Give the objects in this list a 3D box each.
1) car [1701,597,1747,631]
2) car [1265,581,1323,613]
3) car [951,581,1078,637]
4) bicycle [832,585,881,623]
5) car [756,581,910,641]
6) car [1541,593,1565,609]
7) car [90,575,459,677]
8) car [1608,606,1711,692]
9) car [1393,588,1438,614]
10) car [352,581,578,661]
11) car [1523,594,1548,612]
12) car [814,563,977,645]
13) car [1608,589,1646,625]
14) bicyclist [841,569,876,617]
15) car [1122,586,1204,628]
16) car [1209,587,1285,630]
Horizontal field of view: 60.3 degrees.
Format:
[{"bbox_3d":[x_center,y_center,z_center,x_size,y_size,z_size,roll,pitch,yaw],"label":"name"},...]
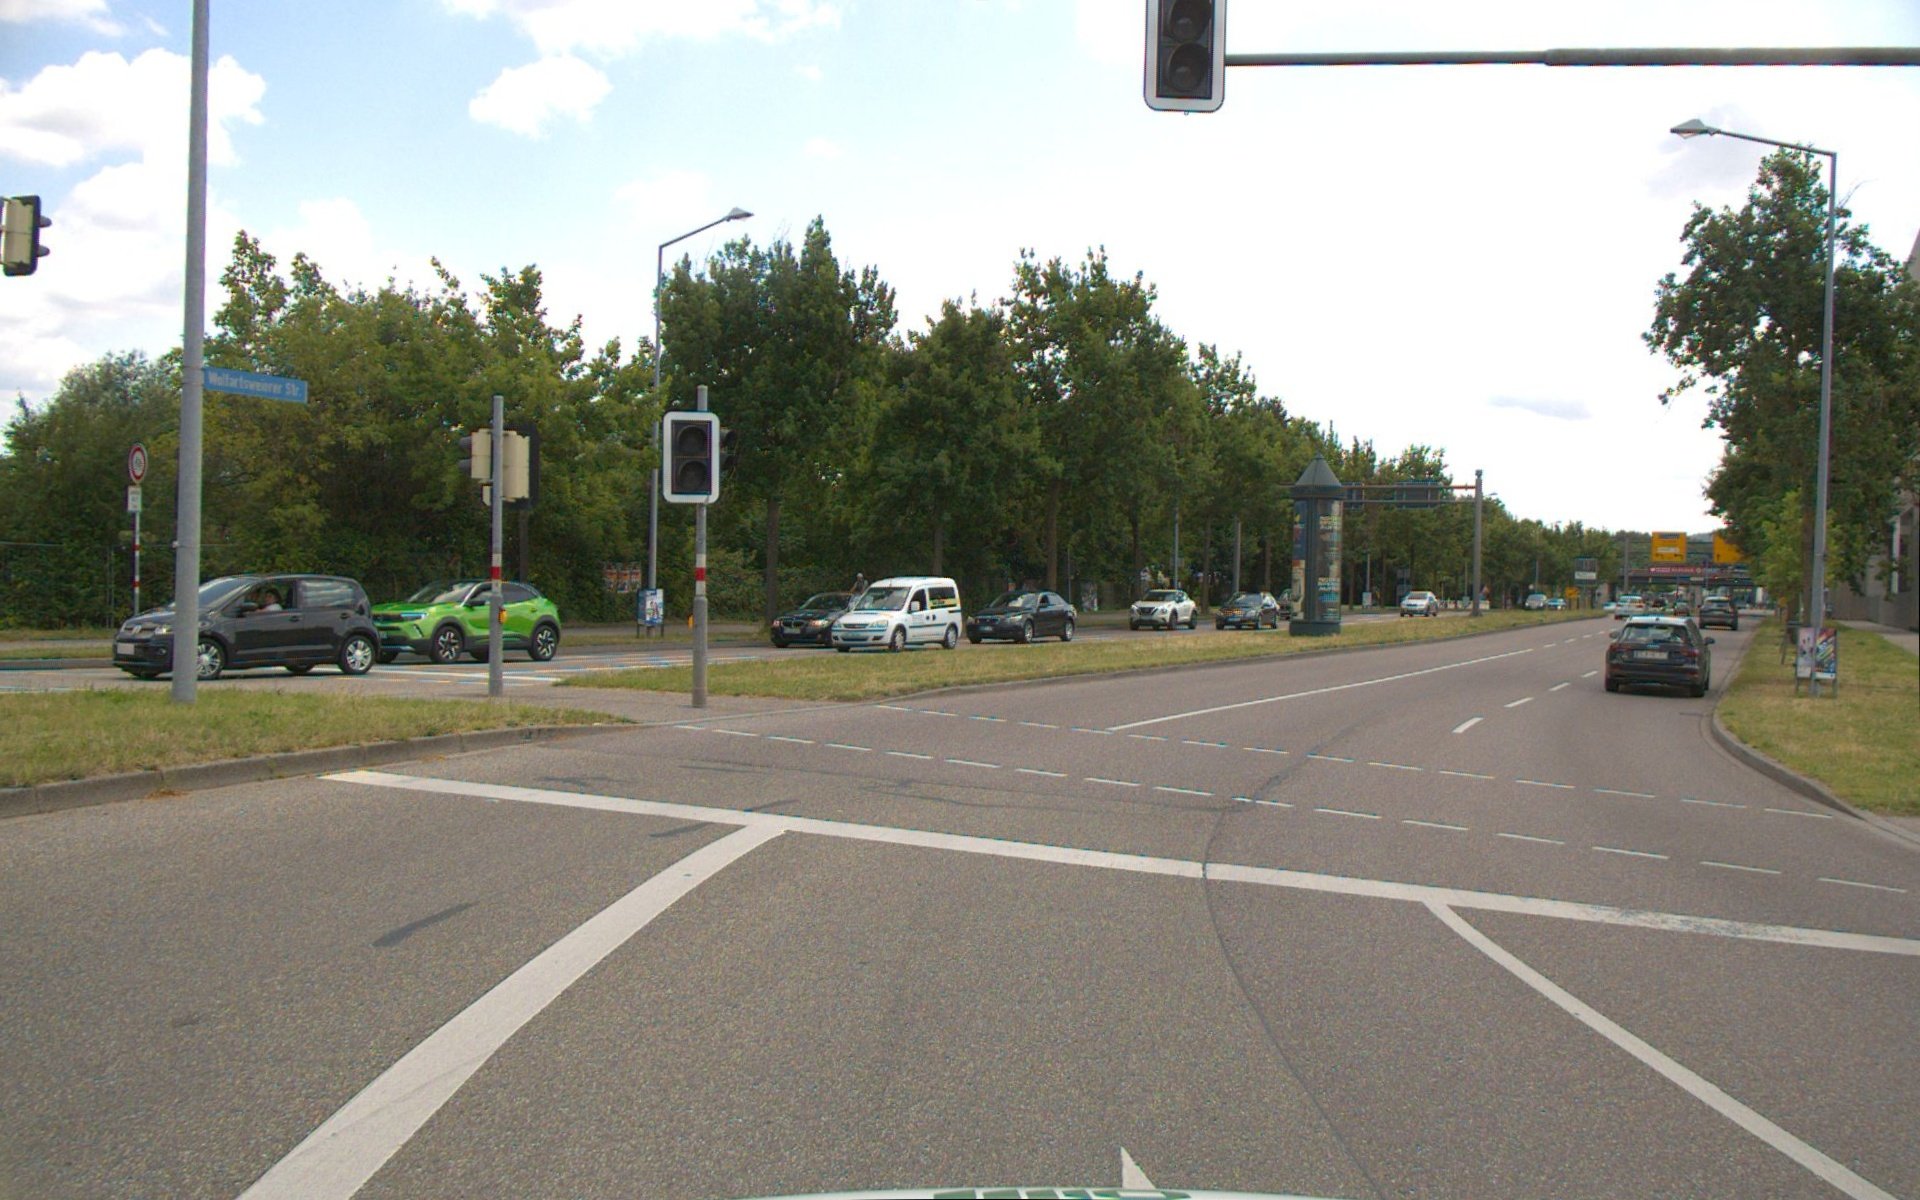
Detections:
[{"bbox_3d":[40.105,0.722,86.783,1.956,1.654,4.303,2,1,28],"label":"car"},{"bbox_3d":[17.221,-0.160,85.011,1.728,1.604,5.027,1,0,26],"label":"car"},{"bbox_3d":[1.599,0.257,46.677,1.802,1.506,4.748,0,0,26],"label":"car"},{"bbox_3d":[-3.552,0.141,57.032,0.746,1.240,2.014,4,1,26],"label":"bicycle"},{"bbox_3d":[-3.203,0.289,42.618,1.804,1.468,4.410,0,-1,30],"label":"car"},{"bbox_3d":[60.227,0.121,167.940,1.707,1.572,4.568,0,0,27],"label":"car"},{"bbox_3d":[-9.800,0.359,24.038,1.806,1.333,4.772,0,-1,34],"label":"car"},{"bbox_3d":[13.772,0.918,32.454,1.651,1.489,3.997,3,1,25],"label":"car"},{"bbox_3d":[26.700,0.026,96.855,1.729,1.465,4.304,1,0,26],"label":"car"},{"bbox_3d":[-9.066,0.375,30.615,1.584,1.372,4.166,0,-1,27],"label":"car"},{"bbox_3d":[51.836,0.227,148.858,1.707,1.596,4.273,0,0,25],"label":"car"},{"bbox_3d":[-1.449,0.109,39.379,1.802,1.831,4.782,0,-1,27],"label":"car"},{"bbox_3d":[41.092,0.432,101.824,1.954,2.048,3.998,3,1,24],"label":"car"},{"bbox_3d":[-3.499,-0.227,57.104,0.814,1.592,0.883,4,1,26],"label":"bicyclist"},{"bbox_3d":[7.996,0.266,64.877,1.872,1.567,4.364,1,0,26],"label":"car"},{"bbox_3d":[11.560,0.309,66.392,1.688,1.618,5.008,1,1,26],"label":"car"}]
